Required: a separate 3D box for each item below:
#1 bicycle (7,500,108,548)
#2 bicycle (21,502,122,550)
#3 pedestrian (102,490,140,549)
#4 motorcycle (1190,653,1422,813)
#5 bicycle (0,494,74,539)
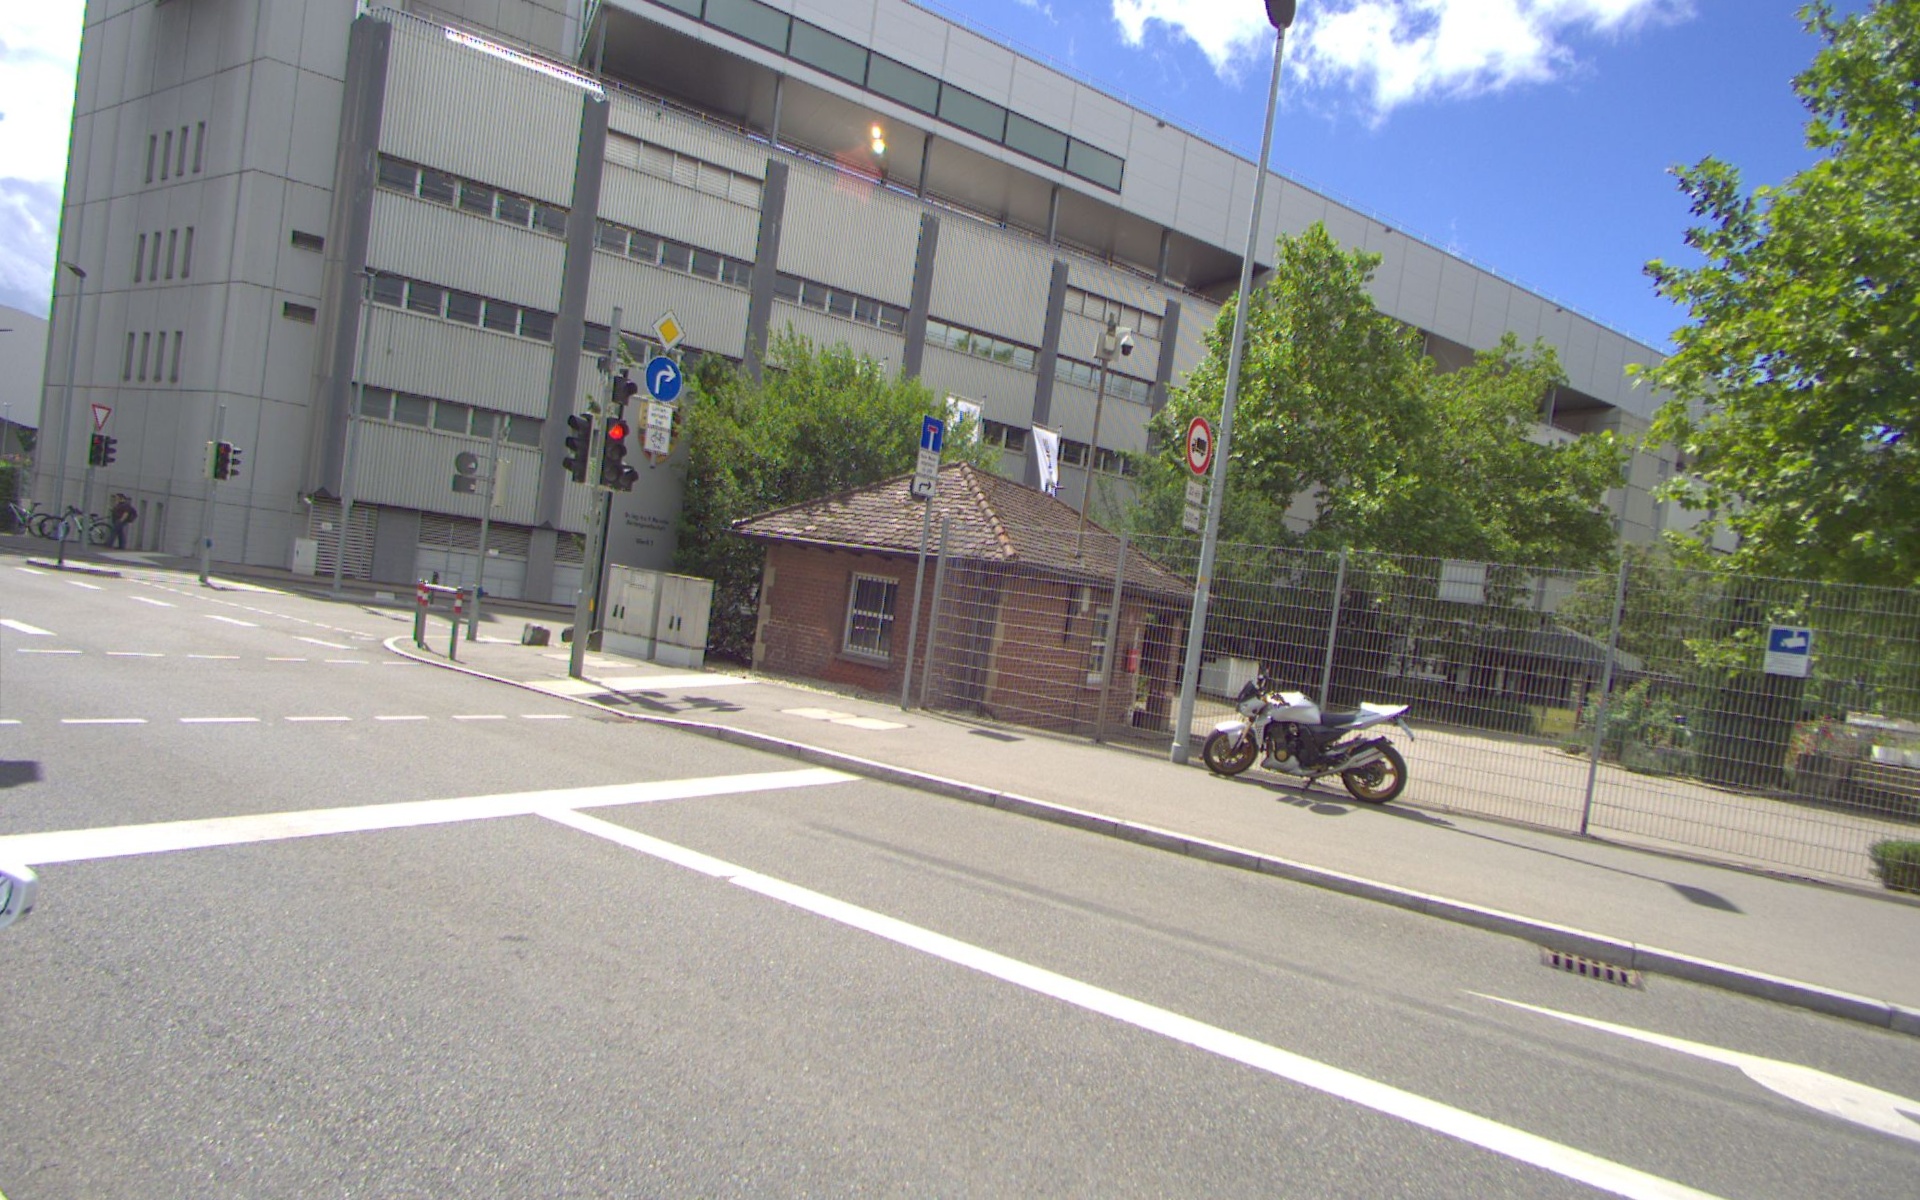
[{"bbox_3d":[-27.962,-2.335,31.204,2.197,1.099,0.474,8,-1,-23],"label":"bicycle"},{"bbox_3d":[-27.274,-2.255,30.917,2.166,1.099,0.474,8,-1,-23],"label":"bicycle"},{"bbox_3d":[-25.490,-2.438,30.569,0.651,1.659,0.531,8,-1,-30],"label":"pedestrian"},{"bbox_3d":[3.418,1.263,10.029,1.980,1.239,0.687,6,2,32],"label":"motorcycle"},{"bbox_3d":[-29.298,-2.641,31.489,2.197,1.099,0.474,8,-1,-23],"label":"bicycle"}]
